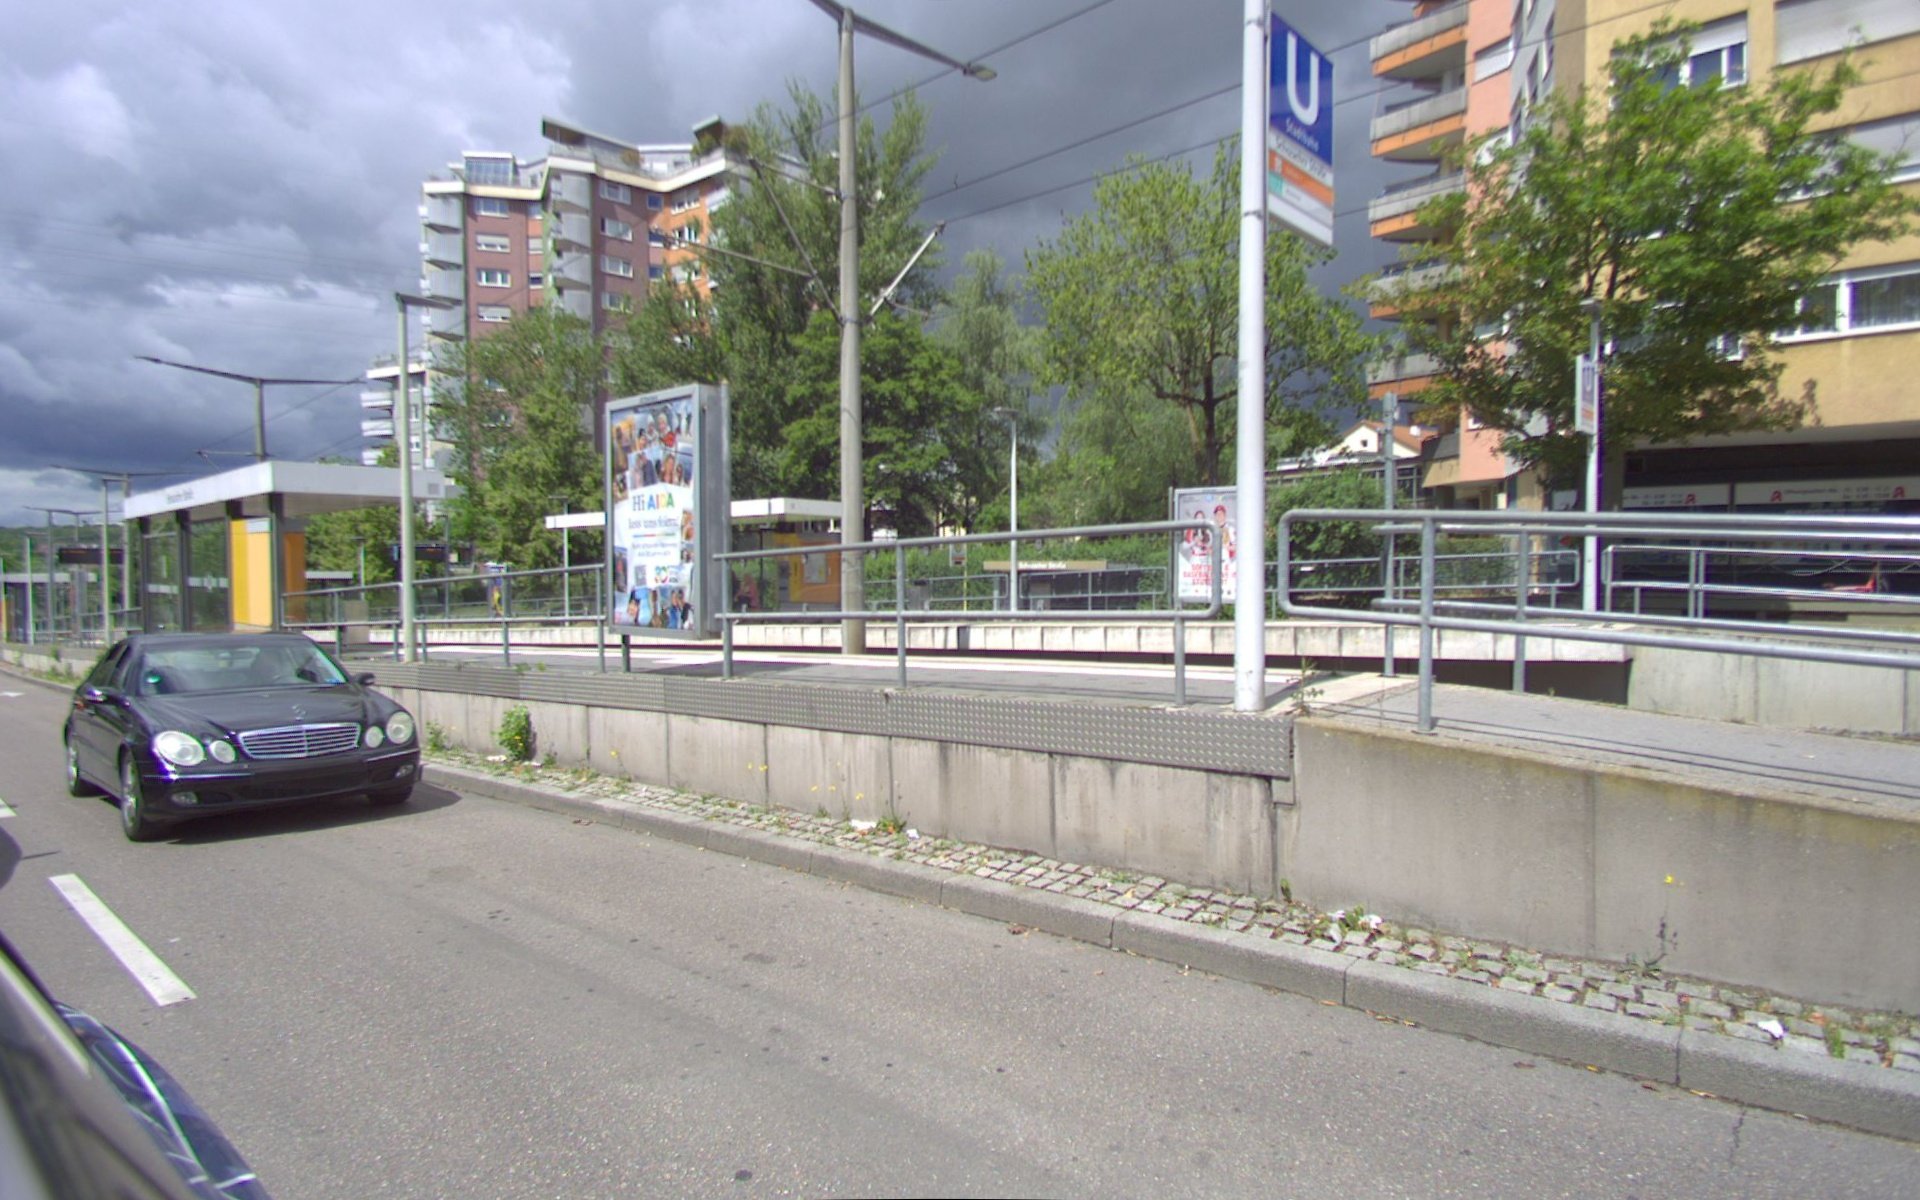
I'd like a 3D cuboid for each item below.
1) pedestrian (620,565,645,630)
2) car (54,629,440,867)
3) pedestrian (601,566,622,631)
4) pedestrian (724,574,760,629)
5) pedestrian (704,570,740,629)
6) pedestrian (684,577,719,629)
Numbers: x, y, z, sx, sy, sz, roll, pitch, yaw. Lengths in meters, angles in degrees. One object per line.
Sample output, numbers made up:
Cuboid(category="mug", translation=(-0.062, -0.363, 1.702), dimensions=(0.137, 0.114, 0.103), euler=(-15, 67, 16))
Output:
Cuboid(category="pedestrian", translation=(-8.846, -0.061, 27.334), dimensions=(0.544, 1.726, 0.386), euler=(-1, -1, -2))
Cuboid(category="car", translation=(-5.960, 0.968, 8.260), dimensions=(4.066, 1.395, 1.797), euler=(-2, -1, 43))
Cuboid(category="pedestrian", translation=(-9.369, -0.034, 27.194), dimensions=(0.421, 1.726, 0.353), euler=(-1, -1, -1))
Cuboid(category="pedestrian", translation=(-5.204, 0.035, 24.167), dimensions=(0.463, 1.287, 0.703), euler=(-2, -1, 41))
Cuboid(category="pedestrian", translation=(-5.822, -0.016, 24.727), dimensions=(0.463, 1.428, 0.703), euler=(-2, -1, 41))
Cuboid(category="pedestrian", translation=(-6.528, 0.078, 25.534), dimensions=(0.463, 1.287, 0.703), euler=(-2, -1, 41))
